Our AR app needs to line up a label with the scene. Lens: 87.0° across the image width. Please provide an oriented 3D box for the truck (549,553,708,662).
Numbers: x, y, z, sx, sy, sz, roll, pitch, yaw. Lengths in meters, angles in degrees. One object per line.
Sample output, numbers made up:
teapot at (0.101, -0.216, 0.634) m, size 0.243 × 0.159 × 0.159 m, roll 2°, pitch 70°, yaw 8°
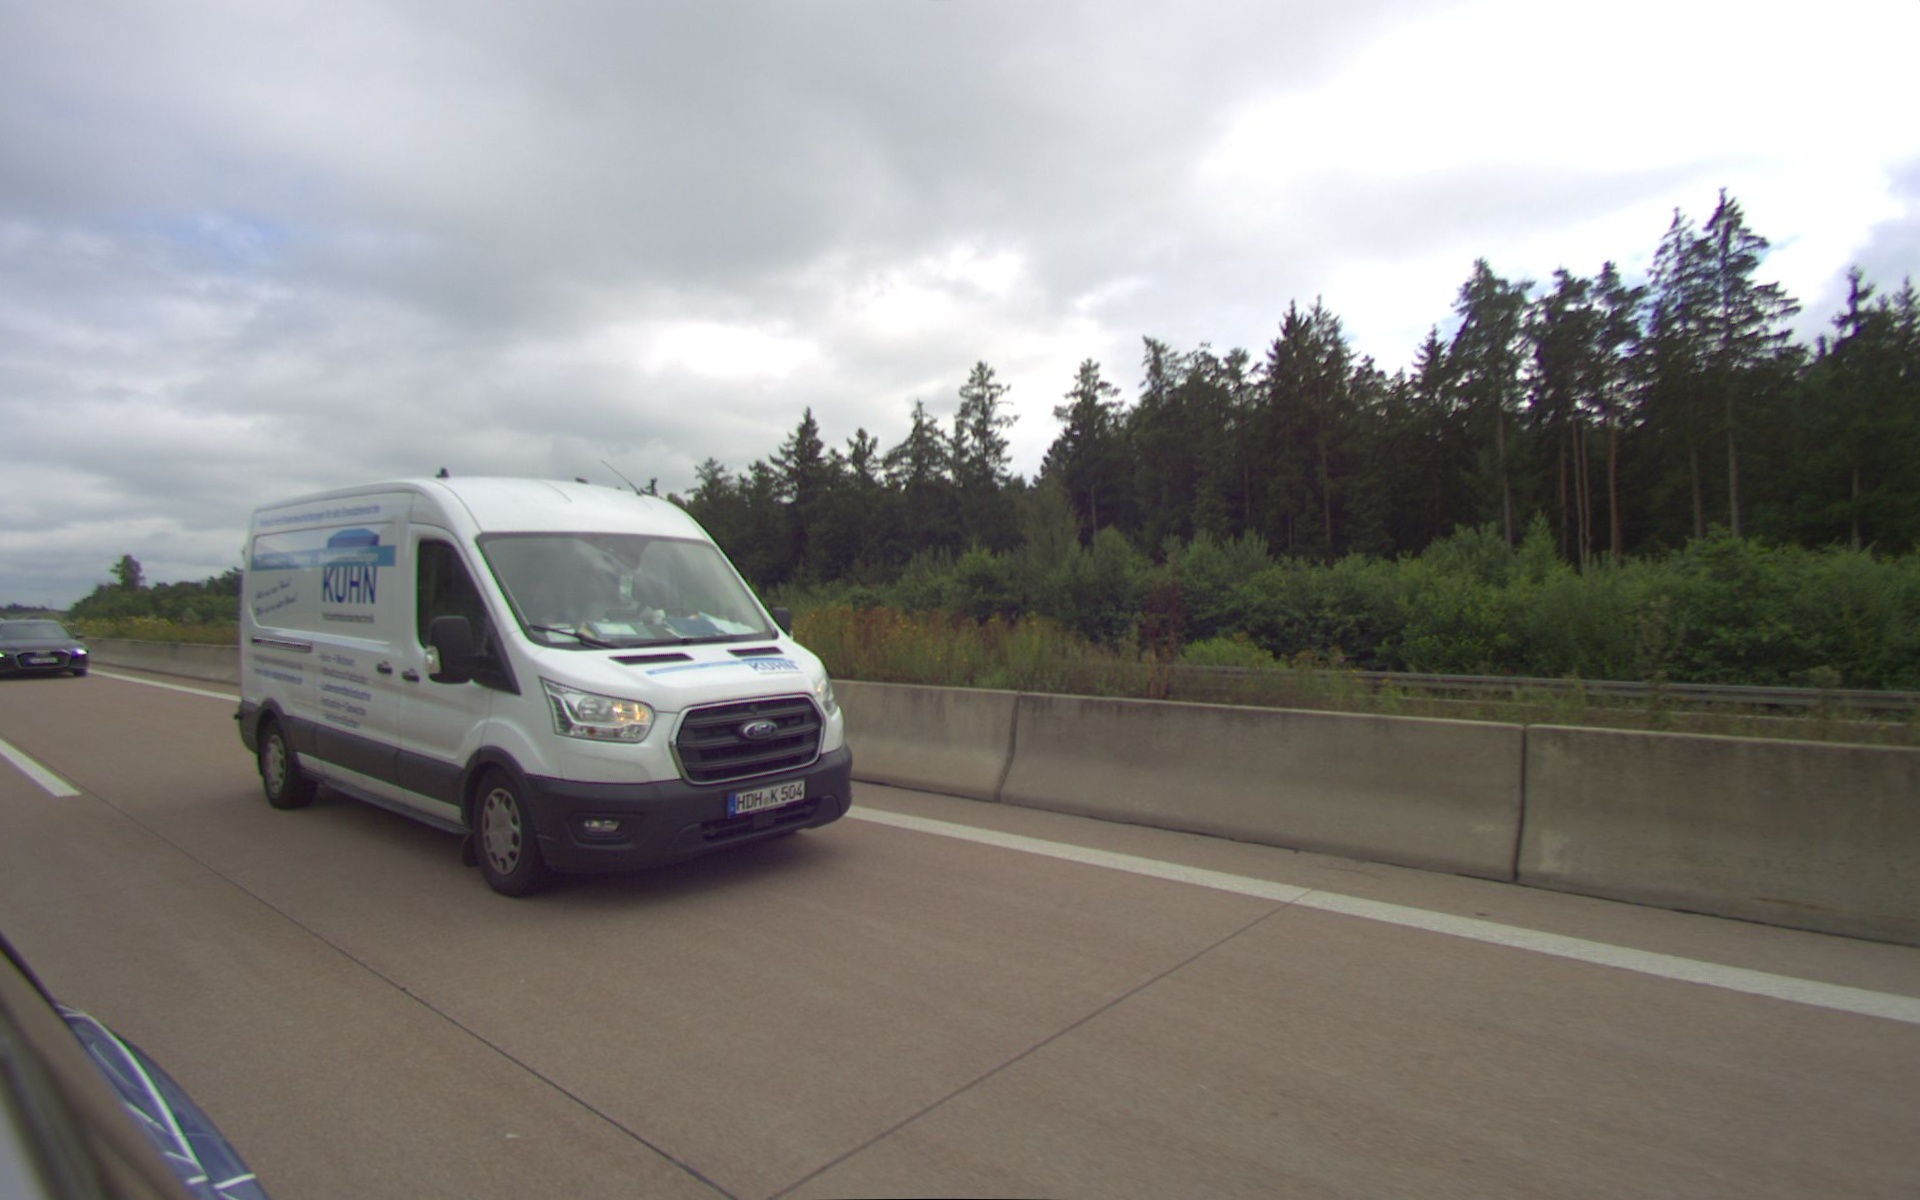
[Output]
truck at (-11.507, 0.268, 34.975) m, size 5.342 × 3.445 × 2.903 m, roll -1°, pitch 0°, yaw 42°

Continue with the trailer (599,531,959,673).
trailer at (-5.969, 0.141, 30.031) m, size 13.265 × 3.445 × 2.903 m, roll -1°, pitch 0°, yaw 42°

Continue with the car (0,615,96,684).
car at (-24.049, 1.212, 26.057) m, size 5.673 × 1.562 × 2.063 m, roll -1°, pitch 0°, yaw 42°

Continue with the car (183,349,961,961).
car at (-3.387, 0.289, 7.315) m, size 7.126 × 2.526 × 2.116 m, roll -1°, pitch -1°, yaw 41°
